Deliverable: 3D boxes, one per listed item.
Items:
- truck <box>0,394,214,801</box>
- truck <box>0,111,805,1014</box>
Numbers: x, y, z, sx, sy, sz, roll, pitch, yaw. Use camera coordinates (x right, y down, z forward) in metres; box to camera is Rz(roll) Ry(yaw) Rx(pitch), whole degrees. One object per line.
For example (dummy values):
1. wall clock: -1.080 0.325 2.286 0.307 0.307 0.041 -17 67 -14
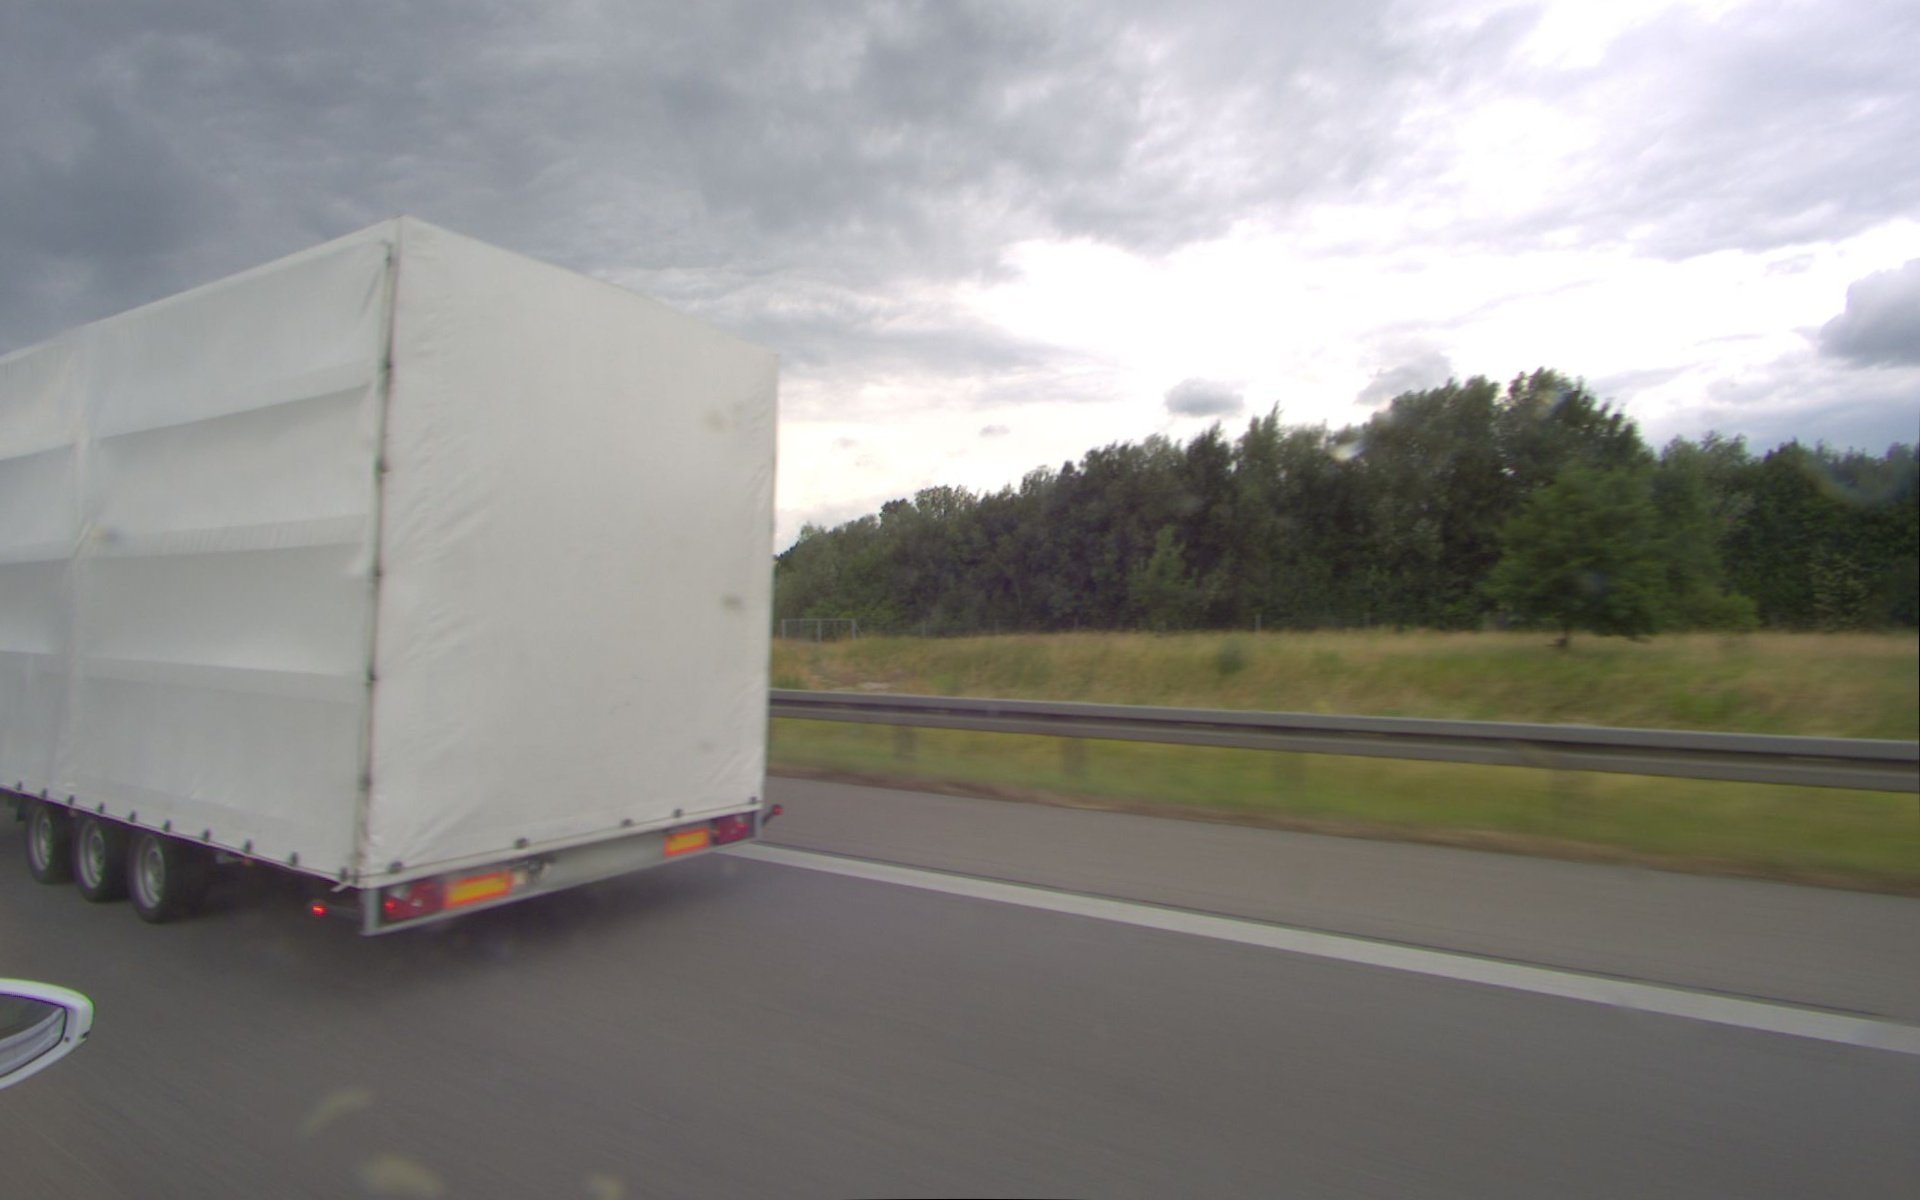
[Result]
1. truck: -10.674 0.034 10.164 7.140 3.285 2.426 -1 -1 31
2. truck: -4.503 -0.067 6.472 7.038 3.264 2.412 -1 -1 31
